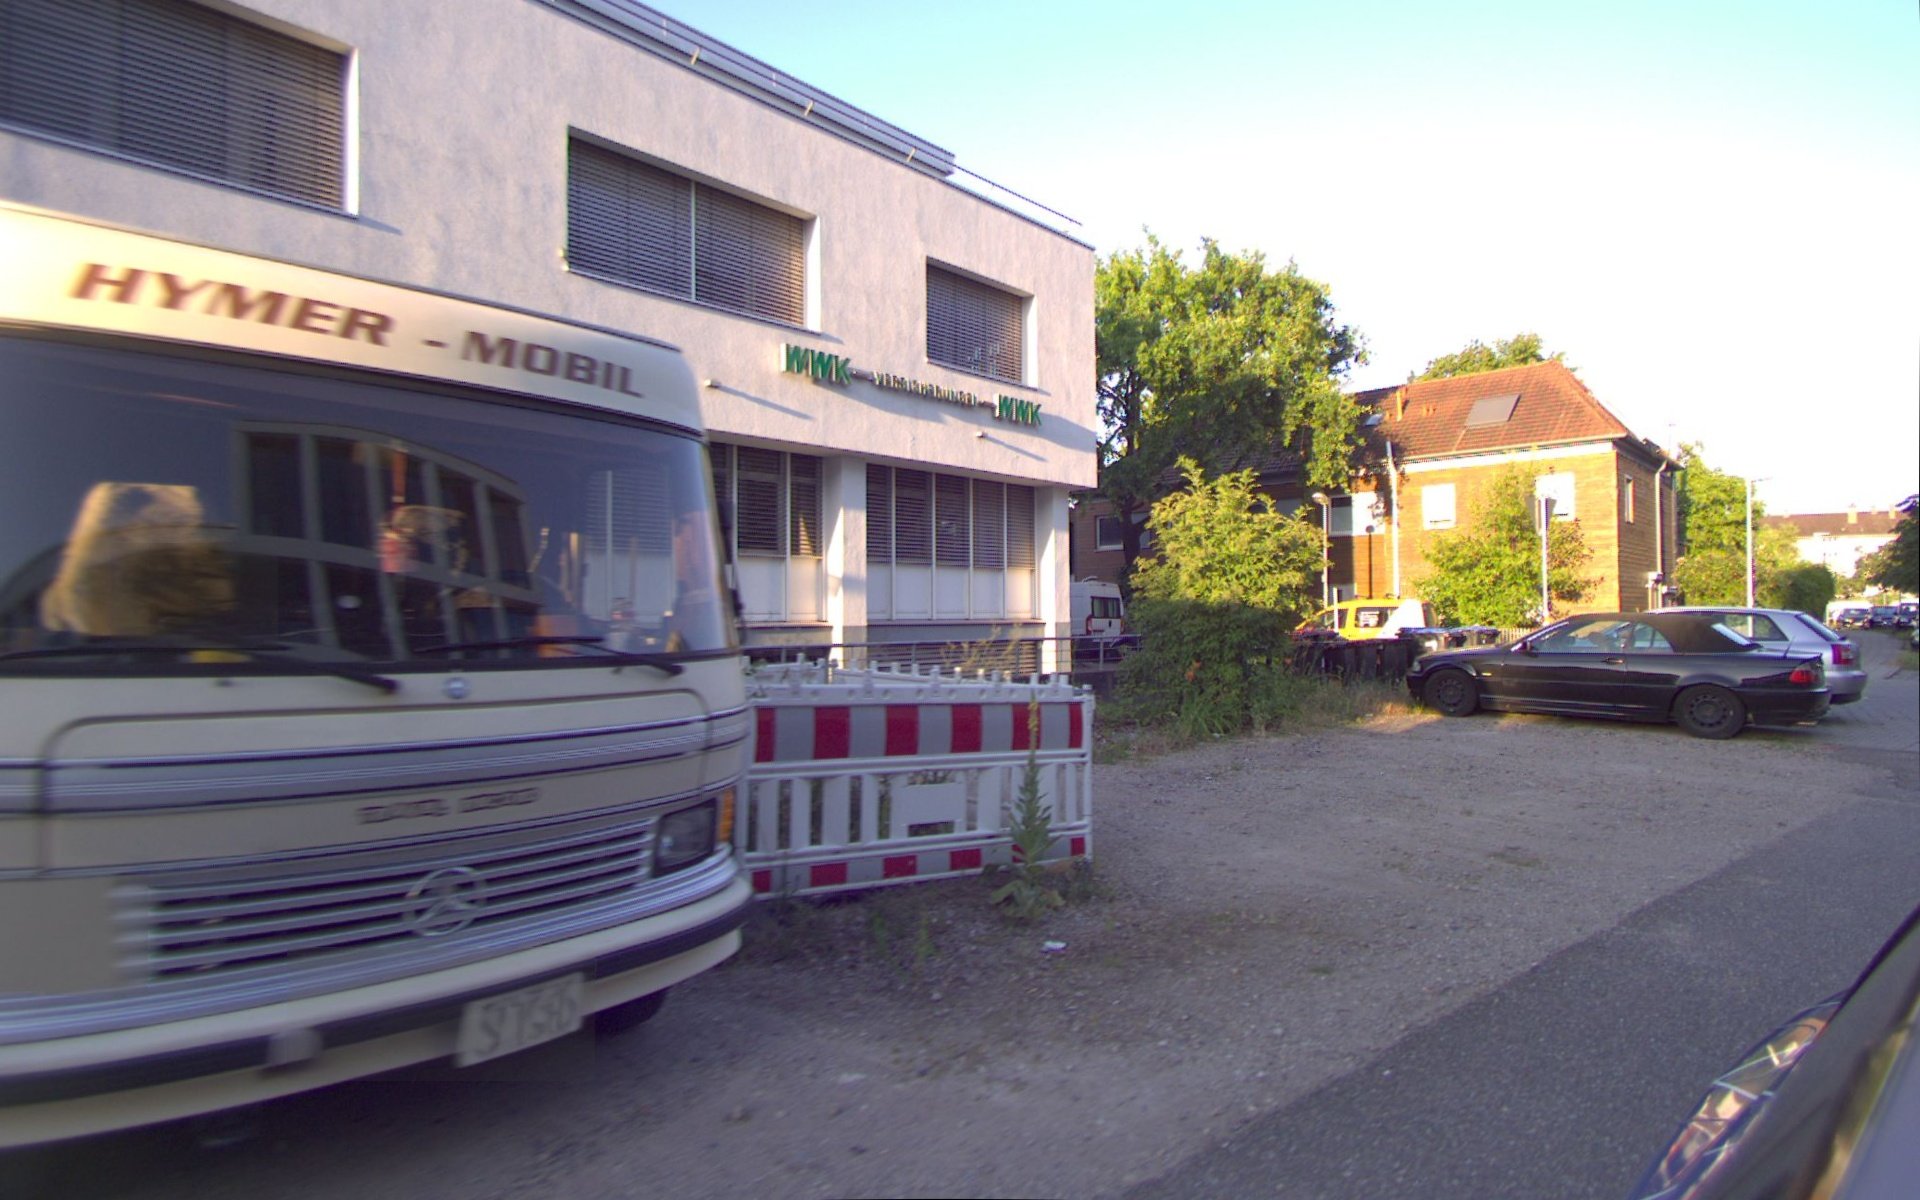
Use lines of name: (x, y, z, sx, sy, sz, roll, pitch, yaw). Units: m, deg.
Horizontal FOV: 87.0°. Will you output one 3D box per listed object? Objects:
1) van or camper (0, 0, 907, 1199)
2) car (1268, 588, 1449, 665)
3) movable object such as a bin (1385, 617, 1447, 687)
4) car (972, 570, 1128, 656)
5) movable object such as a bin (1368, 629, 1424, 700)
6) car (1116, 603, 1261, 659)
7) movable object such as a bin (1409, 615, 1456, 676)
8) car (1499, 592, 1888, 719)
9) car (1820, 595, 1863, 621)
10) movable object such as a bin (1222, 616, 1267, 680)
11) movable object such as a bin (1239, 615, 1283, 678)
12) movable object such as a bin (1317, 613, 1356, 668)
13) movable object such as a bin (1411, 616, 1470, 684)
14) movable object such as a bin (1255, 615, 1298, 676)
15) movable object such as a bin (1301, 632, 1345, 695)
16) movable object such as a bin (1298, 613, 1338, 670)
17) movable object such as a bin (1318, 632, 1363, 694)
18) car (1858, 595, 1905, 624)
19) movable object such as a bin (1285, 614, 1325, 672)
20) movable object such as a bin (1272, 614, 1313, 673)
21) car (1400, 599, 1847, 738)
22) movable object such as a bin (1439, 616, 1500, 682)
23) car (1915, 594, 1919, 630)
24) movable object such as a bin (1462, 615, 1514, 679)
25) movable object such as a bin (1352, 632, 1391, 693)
van or camper: (-2.980, -0.071, 4.602, 2.444, 2.900, 5.789, 0, 1, -41)
car: (10.043, 0.663, 25.655, 3.938, 1.789, 1.755, -1, -2, 43)
movable object such as a bin: (7.010, 0.781, 15.554, 0.703, 1.034, 0.701, -1, -1, 39)
car: (2.835, 0.432, 32.636, 4.736, 2.593, 2.065, -1, -2, 43)
movable object such as a bin: (6.559, 0.953, 15.215, 0.620, 1.034, 0.552, -1, -1, 43)
car: (6.529, 0.870, 29.017, 3.595, 1.474, 1.927, -1, -2, 43)
movable object such as a bin: (8.130, 0.773, 17.412, 0.642, 1.034, 0.440, -1, -1, 39)
car: (9.882, 0.643, 13.844, 1.865, 1.425, 4.058, 1, 0, -44)
car: (51.990, 0.454, 59.664, 1.765, 1.481, 4.299, 0, 0, 43)
movable object such as a bin: (4.301, 0.714, 15.303, 0.517, 0.943, 0.467, 0, 0, -44)
movable object such as a bin: (4.687, 0.713, 15.751, 0.517, 0.943, 0.467, 0, 0, -44)
movable object such as a bin: (6.619, 0.707, 17.806, 0.517, 0.943, 0.467, 0, 0, -44)
movable object such as a bin: (7.631, 0.780, 16.076, 0.703, 1.034, 0.701, -1, -1, 39)
movable object such as a bin: (5.050, 0.712, 16.143, 0.517, 0.943, 0.467, 0, 0, -44)
movable object such as a bin: (5.224, 0.909, 14.569, 0.476, 0.868, 0.390, -1, -1, 43)
movable object such as a bin: (6.175, 0.708, 17.462, 0.517, 0.943, 0.467, 0, 0, -44)
movable object such as a bin: (5.574, 0.916, 14.812, 0.498, 0.868, 0.390, -1, -1, 43)
car: (48.449, 0.476, 53.177, 1.765, 1.481, 4.299, 0, 0, 43)
movable object such as a bin: (5.818, 0.709, 17.076, 0.517, 0.943, 0.467, 0, 0, -44)
movable object such as a bin: (5.475, 0.710, 16.670, 0.517, 0.943, 0.467, 0, 0, -44)
car: (7.952, 0.689, 12.431, 1.865, 1.350, 4.318, 0, 1, -44)
movable object such as a bin: (8.327, 0.779, 16.536, 0.754, 1.034, 0.701, -1, -1, 39)
car: (41.944, 0.517, 43.162, 1.765, 1.481, 4.299, 0, 0, 43)
movable object such as a bin: (8.887, 0.778, 17.044, 0.642, 1.034, 0.701, -1, -1, 39)
movable object such as a bin: (6.087, 0.917, 14.963, 0.414, 0.868, 0.390, -1, -1, 43)
